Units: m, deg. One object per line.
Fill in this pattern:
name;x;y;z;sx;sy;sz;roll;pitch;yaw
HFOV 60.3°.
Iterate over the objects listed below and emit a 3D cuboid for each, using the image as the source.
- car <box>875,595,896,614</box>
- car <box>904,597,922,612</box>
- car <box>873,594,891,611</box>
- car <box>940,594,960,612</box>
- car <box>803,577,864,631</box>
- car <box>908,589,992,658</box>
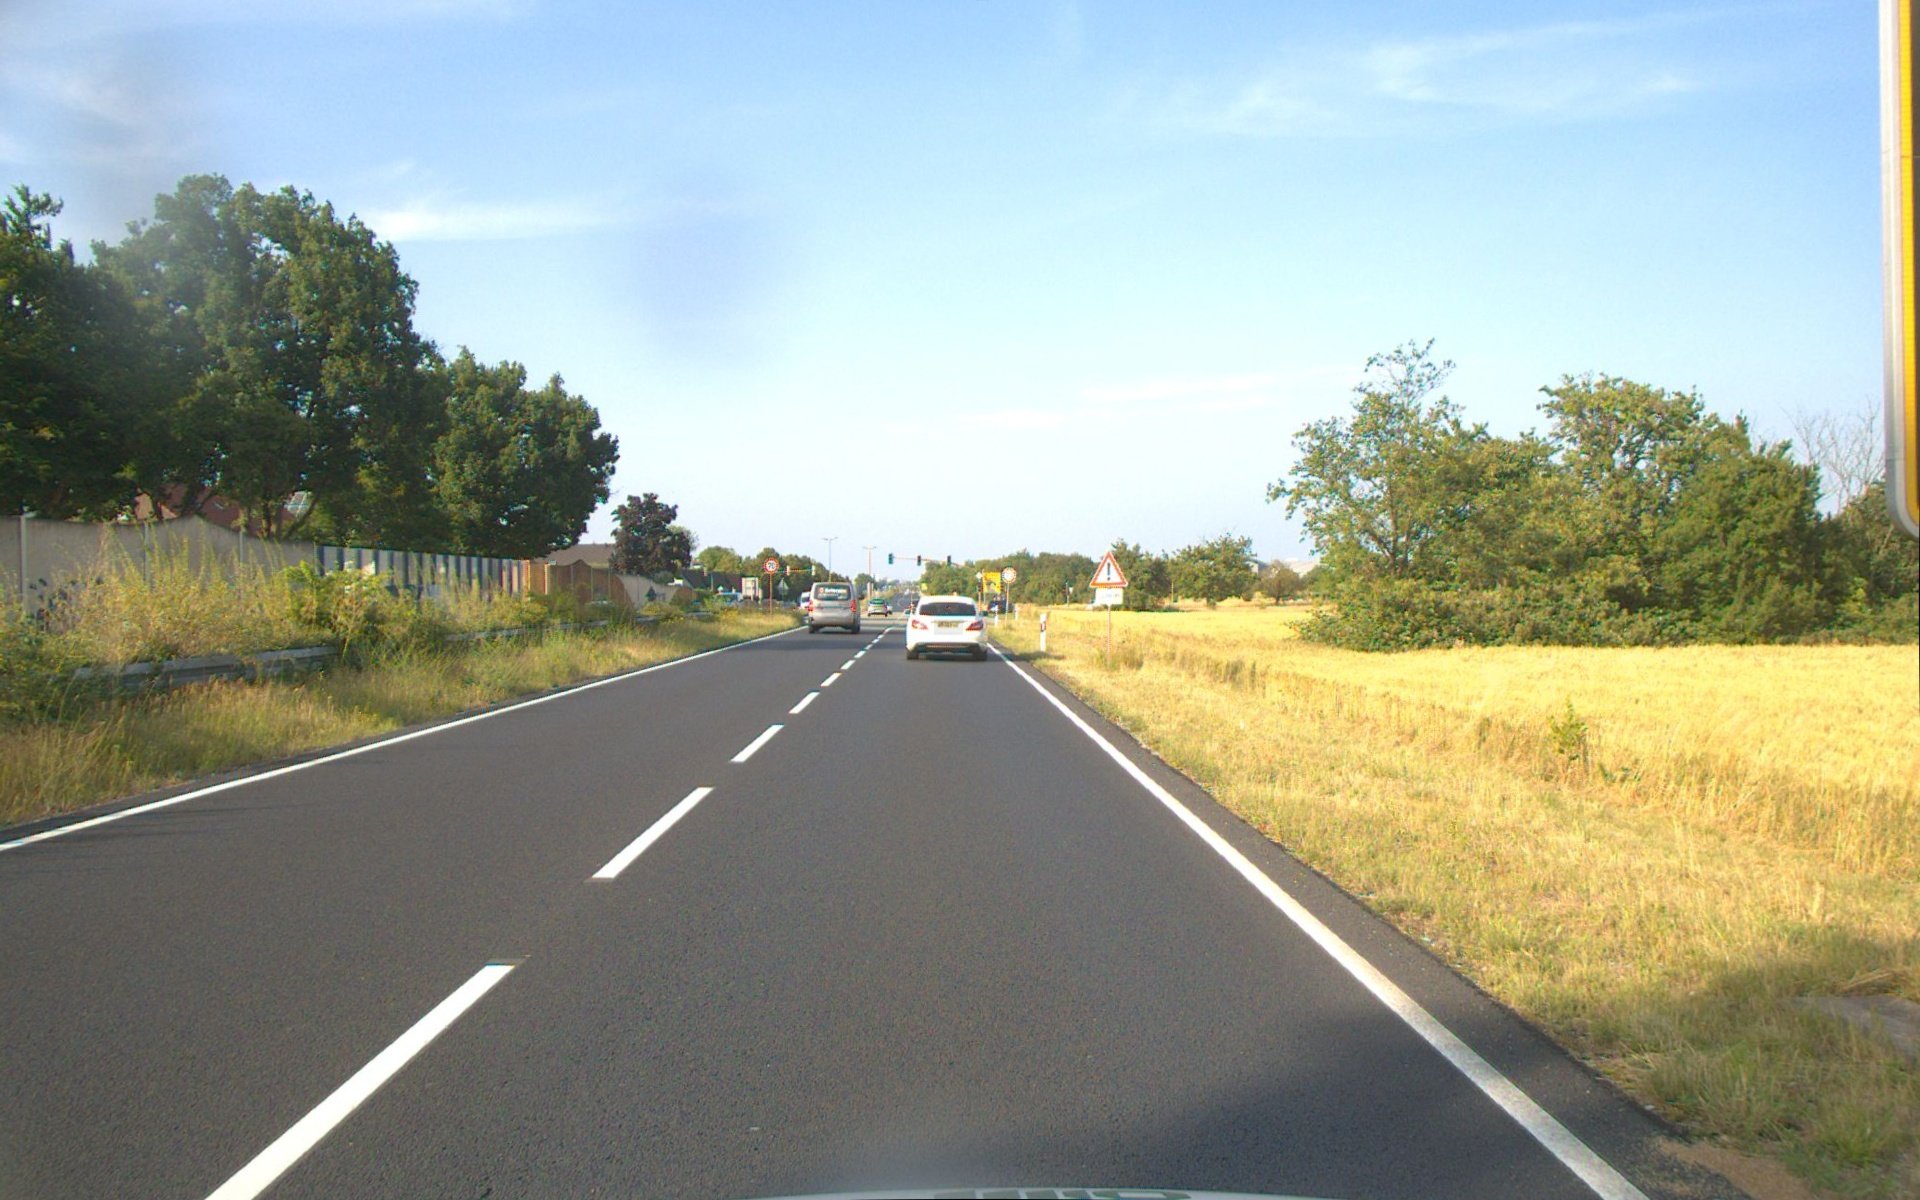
car;-6.325;0.384;140.086;1.682;1.518;3.583;1;0;-1
car;-5.346;0.479;188.818;1.801;1.713;4.000;1;0;1
car;-8.286;0.267;174.861;1.741;1.694;3.659;1;0;-5
car;-0.860;0.269;144.820;1.718;1.543;3.999;-1;0;-1
car;-4.750;0.132;62.620;1.984;1.925;4.957;1;1;-1
car;-0.270;0.519;38.570;1.856;1.535;3.999;0;0;-2
